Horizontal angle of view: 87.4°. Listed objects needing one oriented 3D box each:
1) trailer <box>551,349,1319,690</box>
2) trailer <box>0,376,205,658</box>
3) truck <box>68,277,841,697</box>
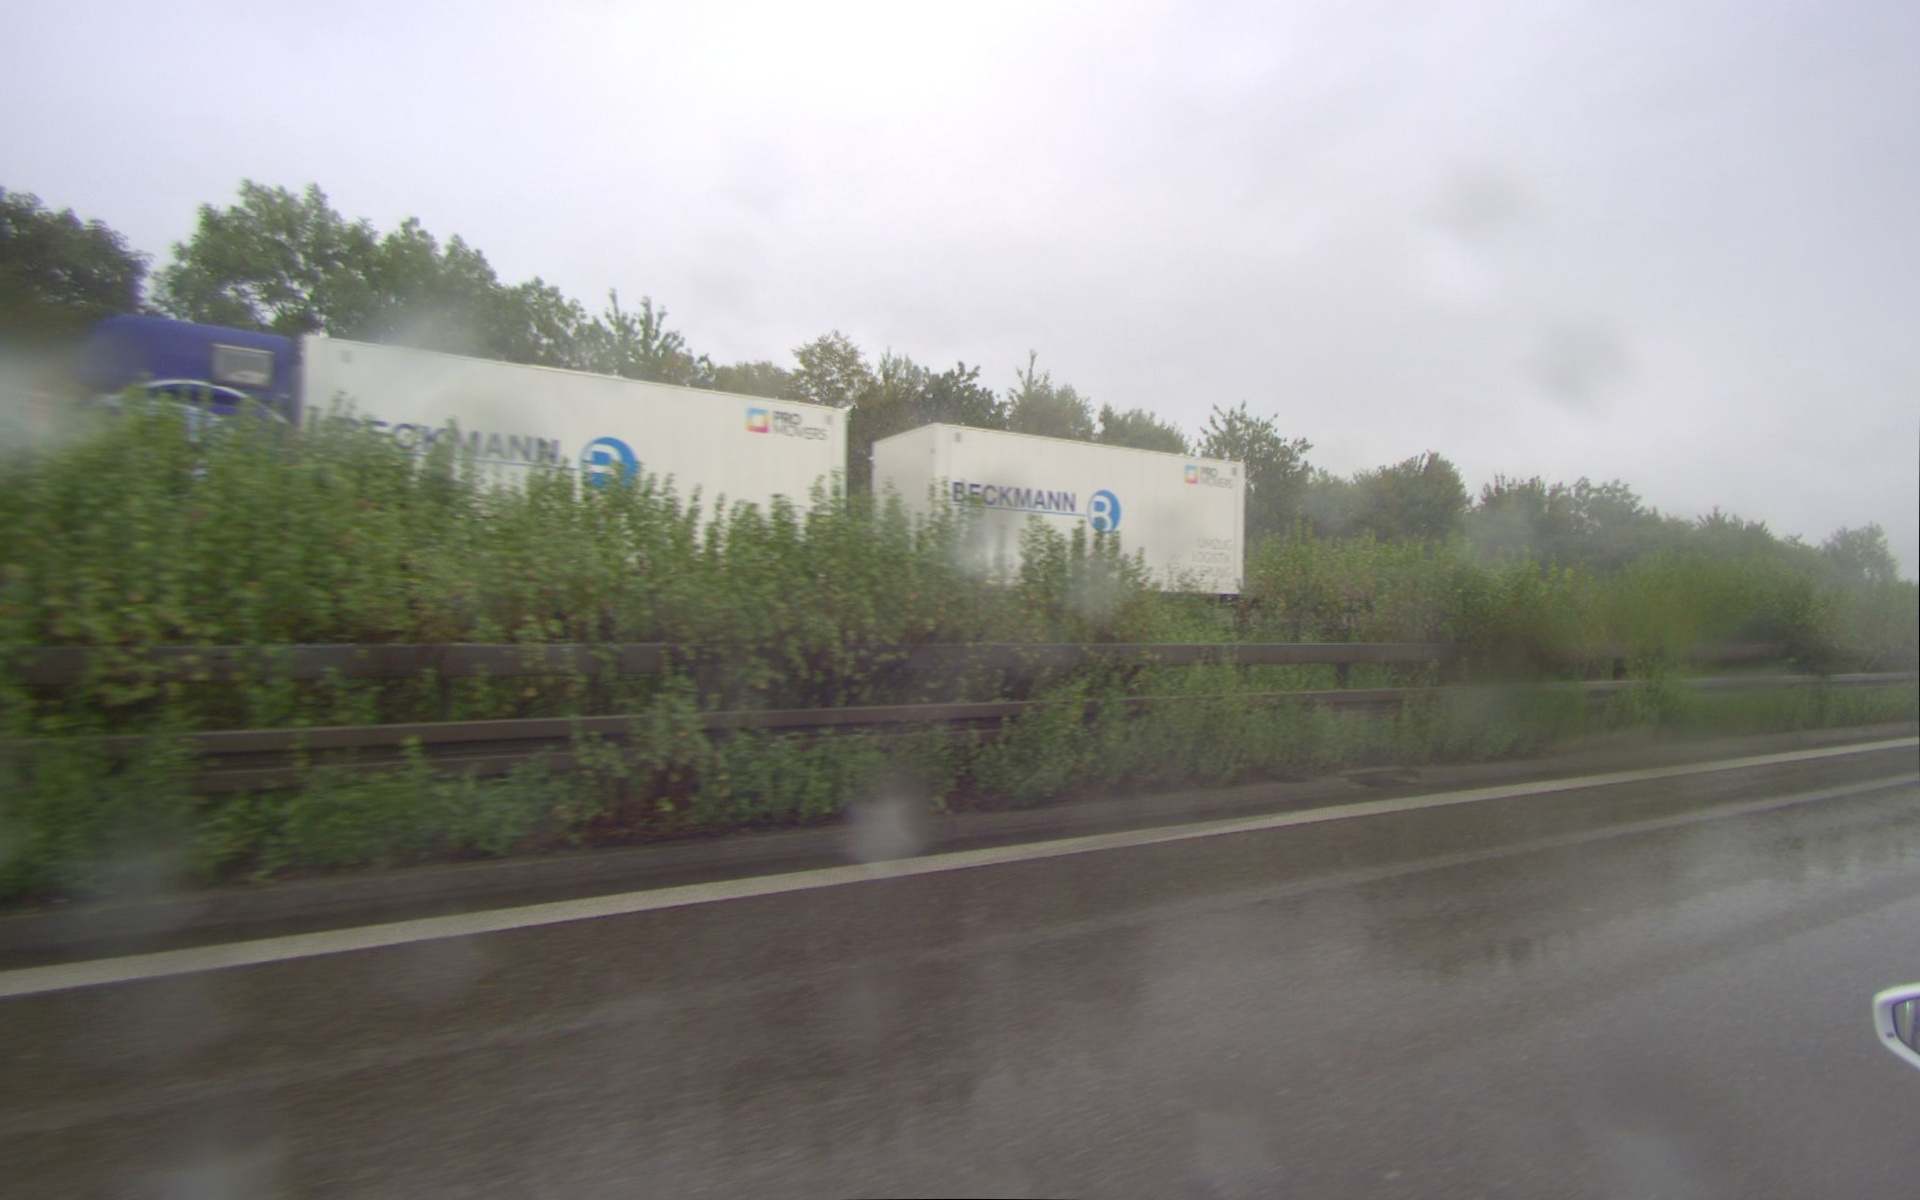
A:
[{"bbox_3d":[0.322,-0.950,19.479,14.851,4.758,3.850,2,0,-31],"label":"trailer"},{"bbox_3d":[-18.195,-1.294,12.979,13.105,3.929,3.182,2,0,-31],"label":"trailer"},{"bbox_3d":[-6.869,-1.181,15.264,9.297,4.701,3.818,1,0,-30],"label":"truck"}]
